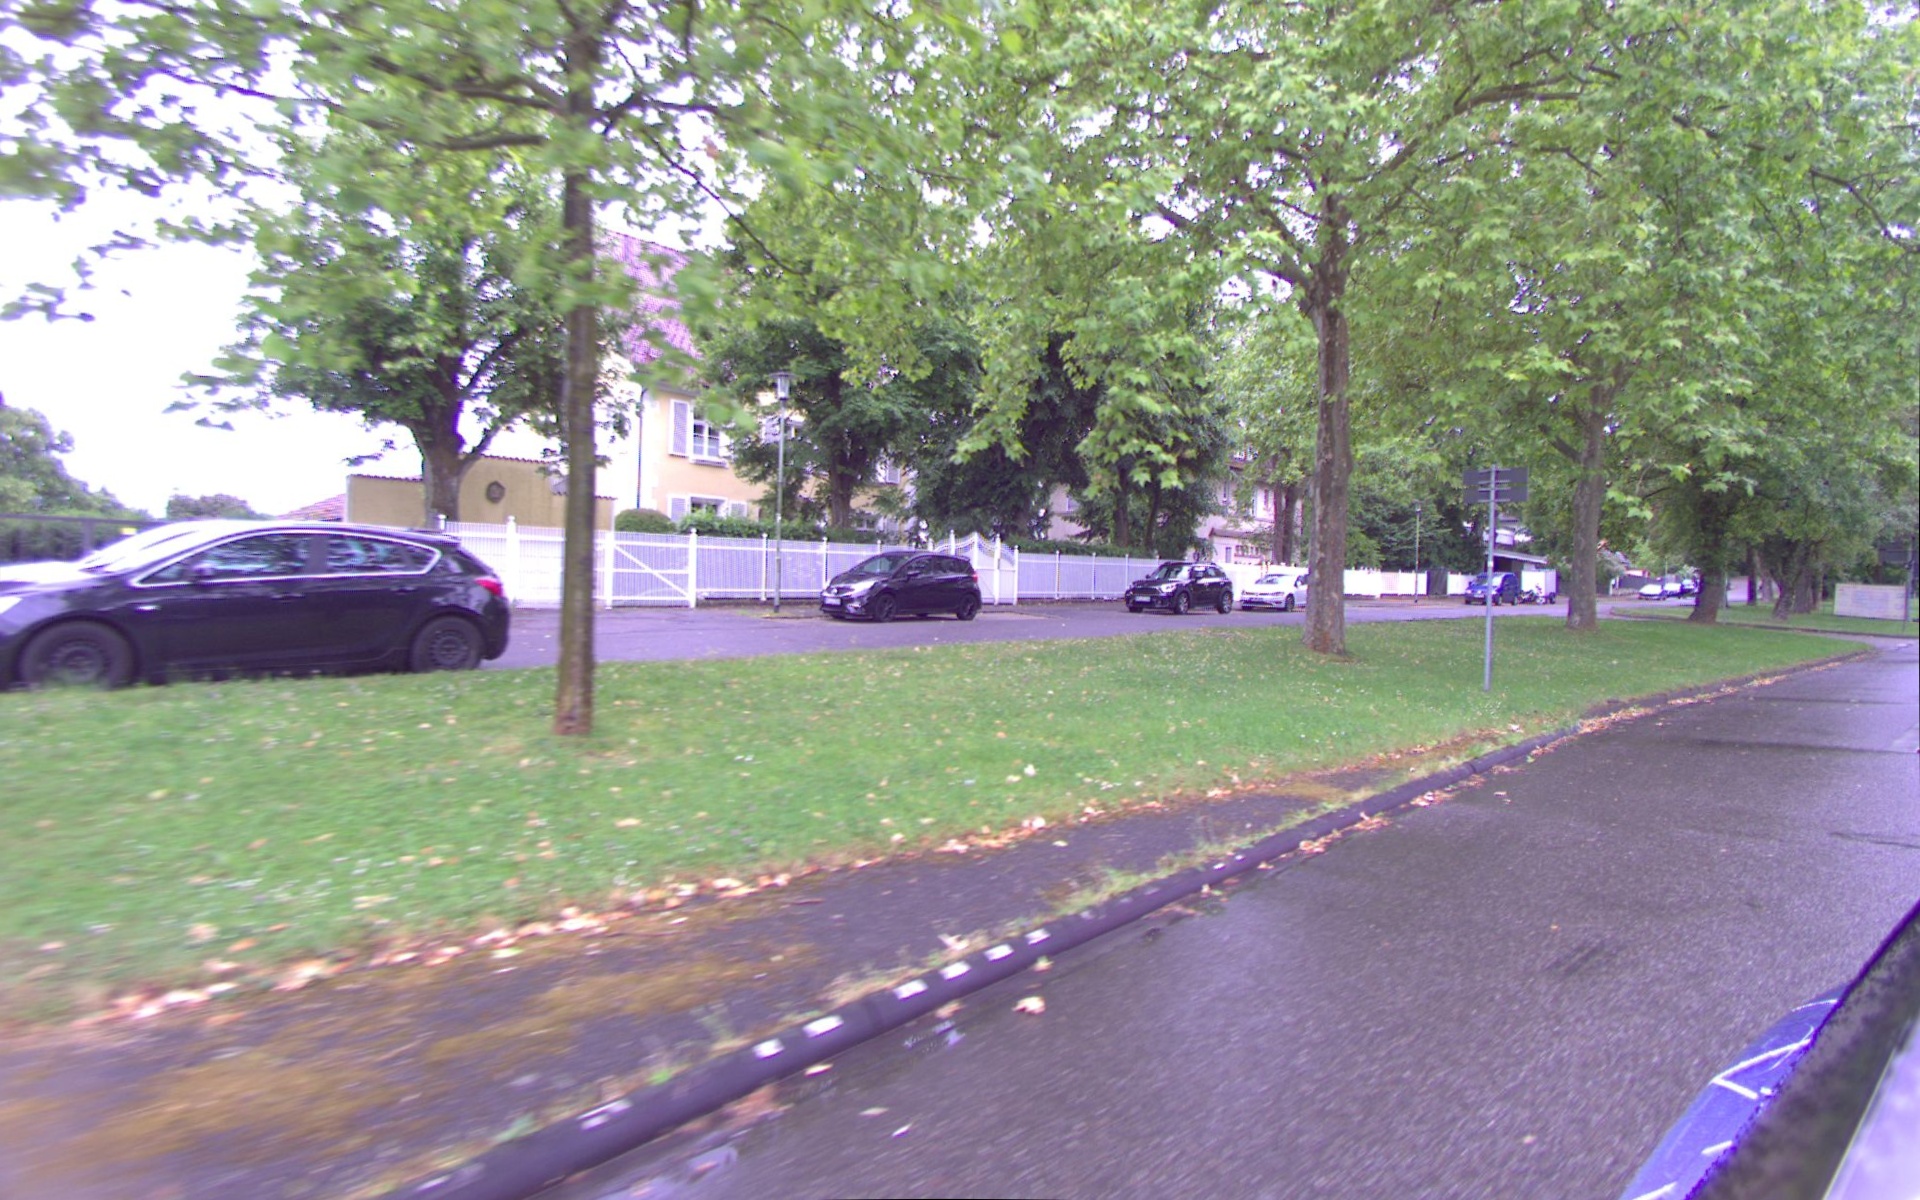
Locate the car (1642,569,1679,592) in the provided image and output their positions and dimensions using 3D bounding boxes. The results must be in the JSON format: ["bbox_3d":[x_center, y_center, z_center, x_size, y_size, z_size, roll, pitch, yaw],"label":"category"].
[{"bbox_3d":[64.181,-1.807,92.686,3.934,2.038,1.996,-1,3,-44],"label":"car"}]

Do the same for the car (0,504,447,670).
[{"bbox_3d":[-8.126,-0.188,10.842,4.354,1.489,1.847,-1,3,-45],"label":"car"}]

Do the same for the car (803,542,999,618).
[{"bbox_3d":[-1.215,-0.420,22.446,1.759,1.490,4.290,-2,-1,43],"label":"car"}]

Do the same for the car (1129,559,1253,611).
[{"bbox_3d":[7.198,-0.455,31.307,1.993,1.489,4.061,0,1,43],"label":"car"}]

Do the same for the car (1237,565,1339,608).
[{"bbox_3d":[11.957,-0.494,36.767,1.993,1.467,4.061,0,1,43],"label":"car"}]

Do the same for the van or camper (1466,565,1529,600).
[{"bbox_3d":[29.352,-0.968,55.242,1.992,1.831,4.704,0,1,42],"label":"van or camper"}]

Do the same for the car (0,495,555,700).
[{"bbox_3d":[-6.291,-0.098,9.193,4.522,1.489,1.766,-1,4,-44],"label":"car"}]

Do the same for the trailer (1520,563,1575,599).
[{"bbox_3d":[36.190,-1.155,62.270,1.767,2.143,5.111,0,1,44],"label":"trailer"}]
